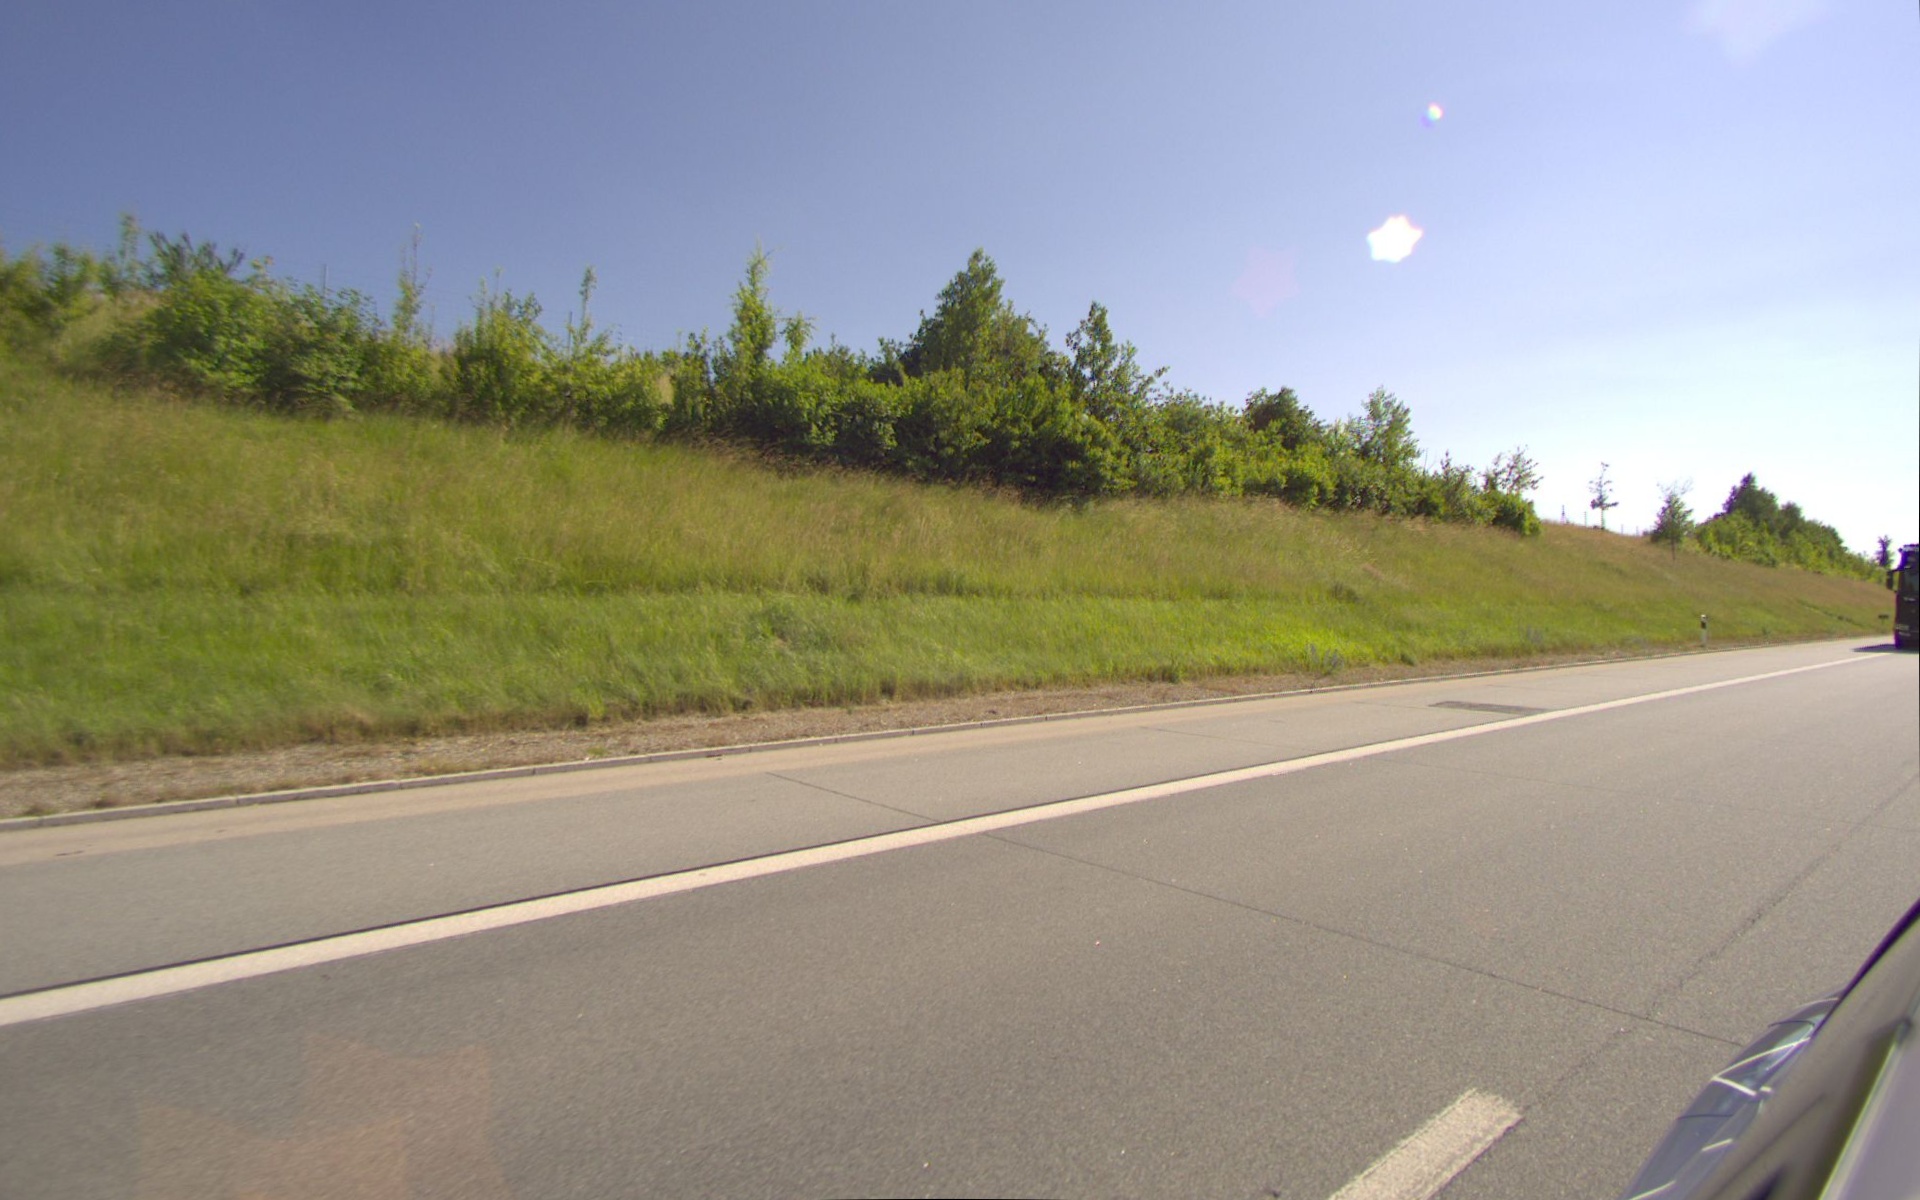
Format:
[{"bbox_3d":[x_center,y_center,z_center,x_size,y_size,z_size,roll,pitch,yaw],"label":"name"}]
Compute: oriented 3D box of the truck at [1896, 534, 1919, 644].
[{"bbox_3d":[39.252,-0.391,39.088,13.162,3.867,2.621,0,-3,-39],"label":"truck"}]
